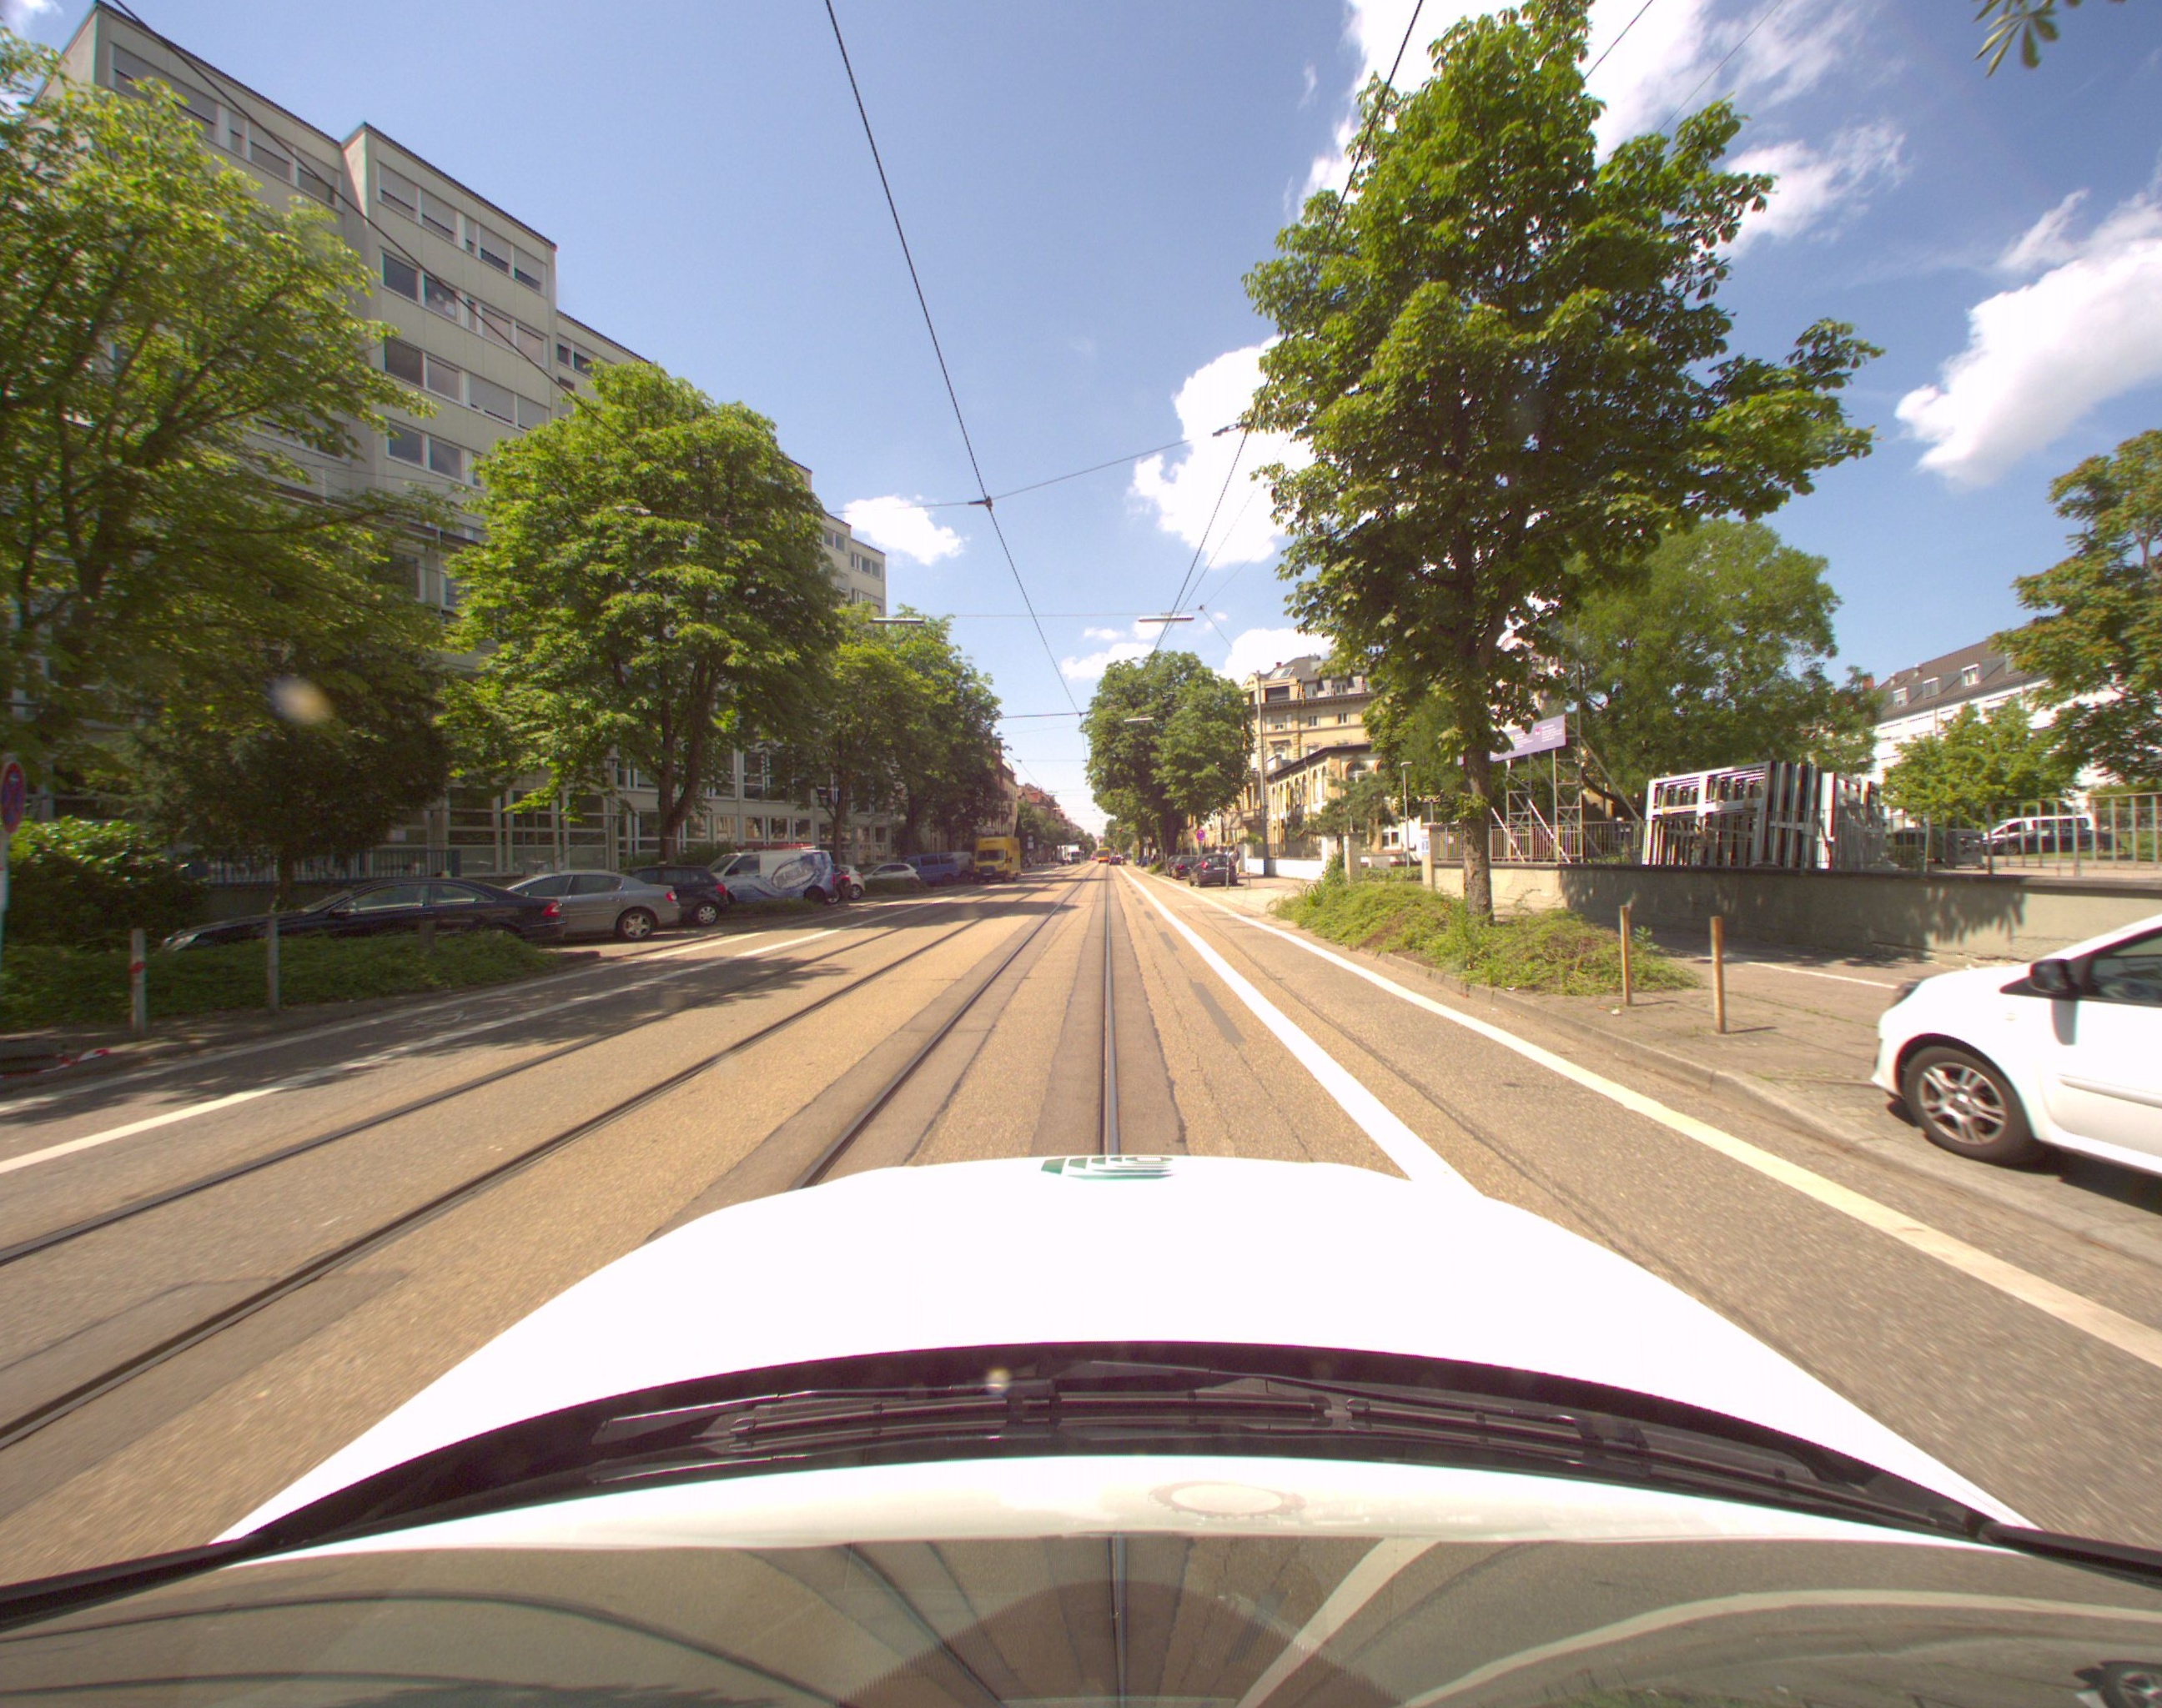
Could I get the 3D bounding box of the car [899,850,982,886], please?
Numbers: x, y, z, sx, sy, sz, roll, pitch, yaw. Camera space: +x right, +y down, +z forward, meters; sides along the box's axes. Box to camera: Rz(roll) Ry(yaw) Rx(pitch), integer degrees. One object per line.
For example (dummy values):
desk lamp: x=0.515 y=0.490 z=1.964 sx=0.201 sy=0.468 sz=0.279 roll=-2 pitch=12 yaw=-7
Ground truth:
car: x=-9.002 y=0.886 z=52.360 sx=4.785 sy=2.062 sz=2.003 roll=-3 pitch=0 yaw=-38

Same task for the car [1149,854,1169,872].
car: x=7.411 y=0.835 z=77.622 sx=1.586 sy=1.616 sz=3.908 roll=-2 pitch=-1 yaw=1

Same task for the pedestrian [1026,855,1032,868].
pedestrian: x=-6.806 y=0.997 z=106.704 sx=0.570 sy=1.615 sz=0.817 roll=-1 pitch=0 yaw=2

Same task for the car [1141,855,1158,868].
car: x=8.123 y=0.892 z=96.979 sx=1.704 sy=1.423 sz=4.310 roll=-2 pitch=-1 yaw=1

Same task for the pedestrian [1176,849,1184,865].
pedestrian: x=11.565 y=0.323 z=95.264 sx=0.806 sy=1.860 sz=0.623 roll=-1 pitch=-2 yaw=0

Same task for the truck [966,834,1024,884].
truck: x=-5.272 y=0.262 z=51.113 sx=2.350 sy=2.852 sz=7.384 roll=-2 pitch=0 yaw=3

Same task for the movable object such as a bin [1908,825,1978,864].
movable object such as a bin: x=33.763 y=-0.378 z=31.935 sx=1.392 sy=1.463 sz=1.397 roll=-2 pitch=0 yaw=22

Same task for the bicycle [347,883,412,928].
bicycle: x=-18.352 y=1.331 z=21.305 sx=1.992 sy=1.075 sz=0.561 roll=0 pitch=0 yaw=27

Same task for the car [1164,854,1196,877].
car: x=6.724 y=0.786 z=55.541 sx=1.704 sy=1.423 sz=4.245 roll=-2 pitch=-1 yaw=1

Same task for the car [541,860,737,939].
car: x=-10.431 y=1.011 z=19.368 sx=3.731 sy=1.544 sz=1.671 roll=-3 pitch=0 yaw=-44

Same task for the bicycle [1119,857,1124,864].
bicycle: x=5.534 y=0.874 z=110.403 sx=0.636 sy=0.969 sz=1.781 roll=0 pitch=-2 yaw=1

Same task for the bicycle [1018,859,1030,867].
bicycle: x=-6.756 y=1.086 z=96.732 sx=0.538 sy=0.969 sz=1.792 roll=-1 pitch=-2 yaw=31

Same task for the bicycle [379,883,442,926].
bicycle: x=-18.057 y=1.336 z=21.927 sx=1.992 sy=1.075 sz=0.561 roll=0 pitch=0 yaw=27

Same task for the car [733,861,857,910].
car: x=-10.266 y=1.103 z=29.370 sx=3.731 sy=1.507 sz=1.795 roll=-3 pitch=-1 yaw=-44

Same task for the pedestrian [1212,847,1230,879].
pedestrian: x=8.247 y=0.511 z=48.036 sx=0.800 sy=1.859 sz=0.580 roll=-3 pitch=0 yaw=37

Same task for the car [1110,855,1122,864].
car: x=5.286 y=0.867 z=123.072 sx=1.774 sy=1.345 sz=3.417 roll=-2 pitch=0 yaw=2

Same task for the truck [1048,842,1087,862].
truck: x=-2.539 y=-0.380 z=154.323 sx=2.963 sy=3.550 sz=8.358 roll=-2 pitch=0 yaw=-37

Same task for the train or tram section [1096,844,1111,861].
train or tram section: x=4.798 y=-0.233 z=171.908 sx=3.023 sy=3.438 sz=11.977 roll=-2 pitch=0 yaw=2

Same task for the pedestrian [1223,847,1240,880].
pedestrian: x=8.742 y=0.543 z=47.286 sx=0.717 sy=1.859 sz=0.580 roll=-3 pitch=0 yaw=40

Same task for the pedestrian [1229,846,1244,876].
pedestrian: x=9.238 y=0.404 z=48.353 sx=0.612 sy=1.737 sz=0.481 roll=-3 pitch=-1 yaw=37

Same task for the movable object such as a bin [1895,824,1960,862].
movable object such as a bin: x=34.464 y=-0.427 z=33.190 sx=1.391 sy=1.463 sz=1.397 roll=-2 pitch=0 yaw=23

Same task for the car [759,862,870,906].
car: x=-10.479 y=1.150 z=32.112 sx=3.731 sy=1.467 sz=1.741 roll=-3 pitch=-1 yaw=-44

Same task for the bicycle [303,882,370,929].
bicycle: x=-18.686 y=1.274 z=20.436 sx=1.992 sy=1.075 sz=0.561 roll=0 pitch=0 yaw=27

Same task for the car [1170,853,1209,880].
car: x=6.506 y=0.730 z=49.105 sx=1.869 sy=1.455 sz=4.530 roll=-2 pitch=-1 yaw=2

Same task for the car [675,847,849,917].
car: x=-10.184 y=0.835 z=26.266 sx=1.898 sy=1.935 sz=4.785 roll=-4 pitch=-1 yaw=44

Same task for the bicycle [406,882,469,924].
bicycle: x=-17.783 y=1.337 z=22.488 sx=1.992 sy=1.075 sz=0.561 roll=0 pitch=0 yaw=27

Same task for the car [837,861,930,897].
car: x=-9.547 y=1.205 z=39.643 sx=1.740 sy=1.433 sz=4.025 roll=-5 pitch=-1 yaw=44

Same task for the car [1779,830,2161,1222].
car: x=5.057 y=0.663 z=3.126 sx=1.637 sy=1.534 sz=3.788 roll=-1 pitch=0 yaw=3

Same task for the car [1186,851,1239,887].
car: x=5.870 y=0.667 z=36.706 sx=1.634 sy=1.485 sz=3.870 roll=-2 pitch=-1 yaw=-1

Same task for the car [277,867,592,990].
car: x=-10.214 y=1.065 z=13.043 sx=1.740 sy=1.507 sz=3.732 roll=-3 pitch=0 yaw=44

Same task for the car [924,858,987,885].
car: x=-8.619 y=1.167 z=55.901 sx=3.942 sy=1.600 sz=1.726 roll=-3 pitch=0 yaw=-44

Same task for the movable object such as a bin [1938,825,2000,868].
movable object such as a bin: x=31.534 y=-0.253 z=28.918 sx=1.396 sy=1.463 sz=1.392 roll=-2 pitch=0 yaw=-40

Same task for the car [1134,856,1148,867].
car: x=8.463 y=1.017 z=115.288 sx=1.704 sy=1.423 sz=4.310 roll=-2 pitch=-1 yaw=1

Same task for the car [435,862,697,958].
car: x=-10.240 y=1.024 z=16.351 sx=4.225 sy=1.507 sz=1.852 roll=-3 pitch=0 yaw=-40

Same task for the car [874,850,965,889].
car: x=-9.087 y=0.872 z=46.203 sx=4.759 sy=1.955 sz=1.824 roll=-3 pitch=0 yaw=-44
